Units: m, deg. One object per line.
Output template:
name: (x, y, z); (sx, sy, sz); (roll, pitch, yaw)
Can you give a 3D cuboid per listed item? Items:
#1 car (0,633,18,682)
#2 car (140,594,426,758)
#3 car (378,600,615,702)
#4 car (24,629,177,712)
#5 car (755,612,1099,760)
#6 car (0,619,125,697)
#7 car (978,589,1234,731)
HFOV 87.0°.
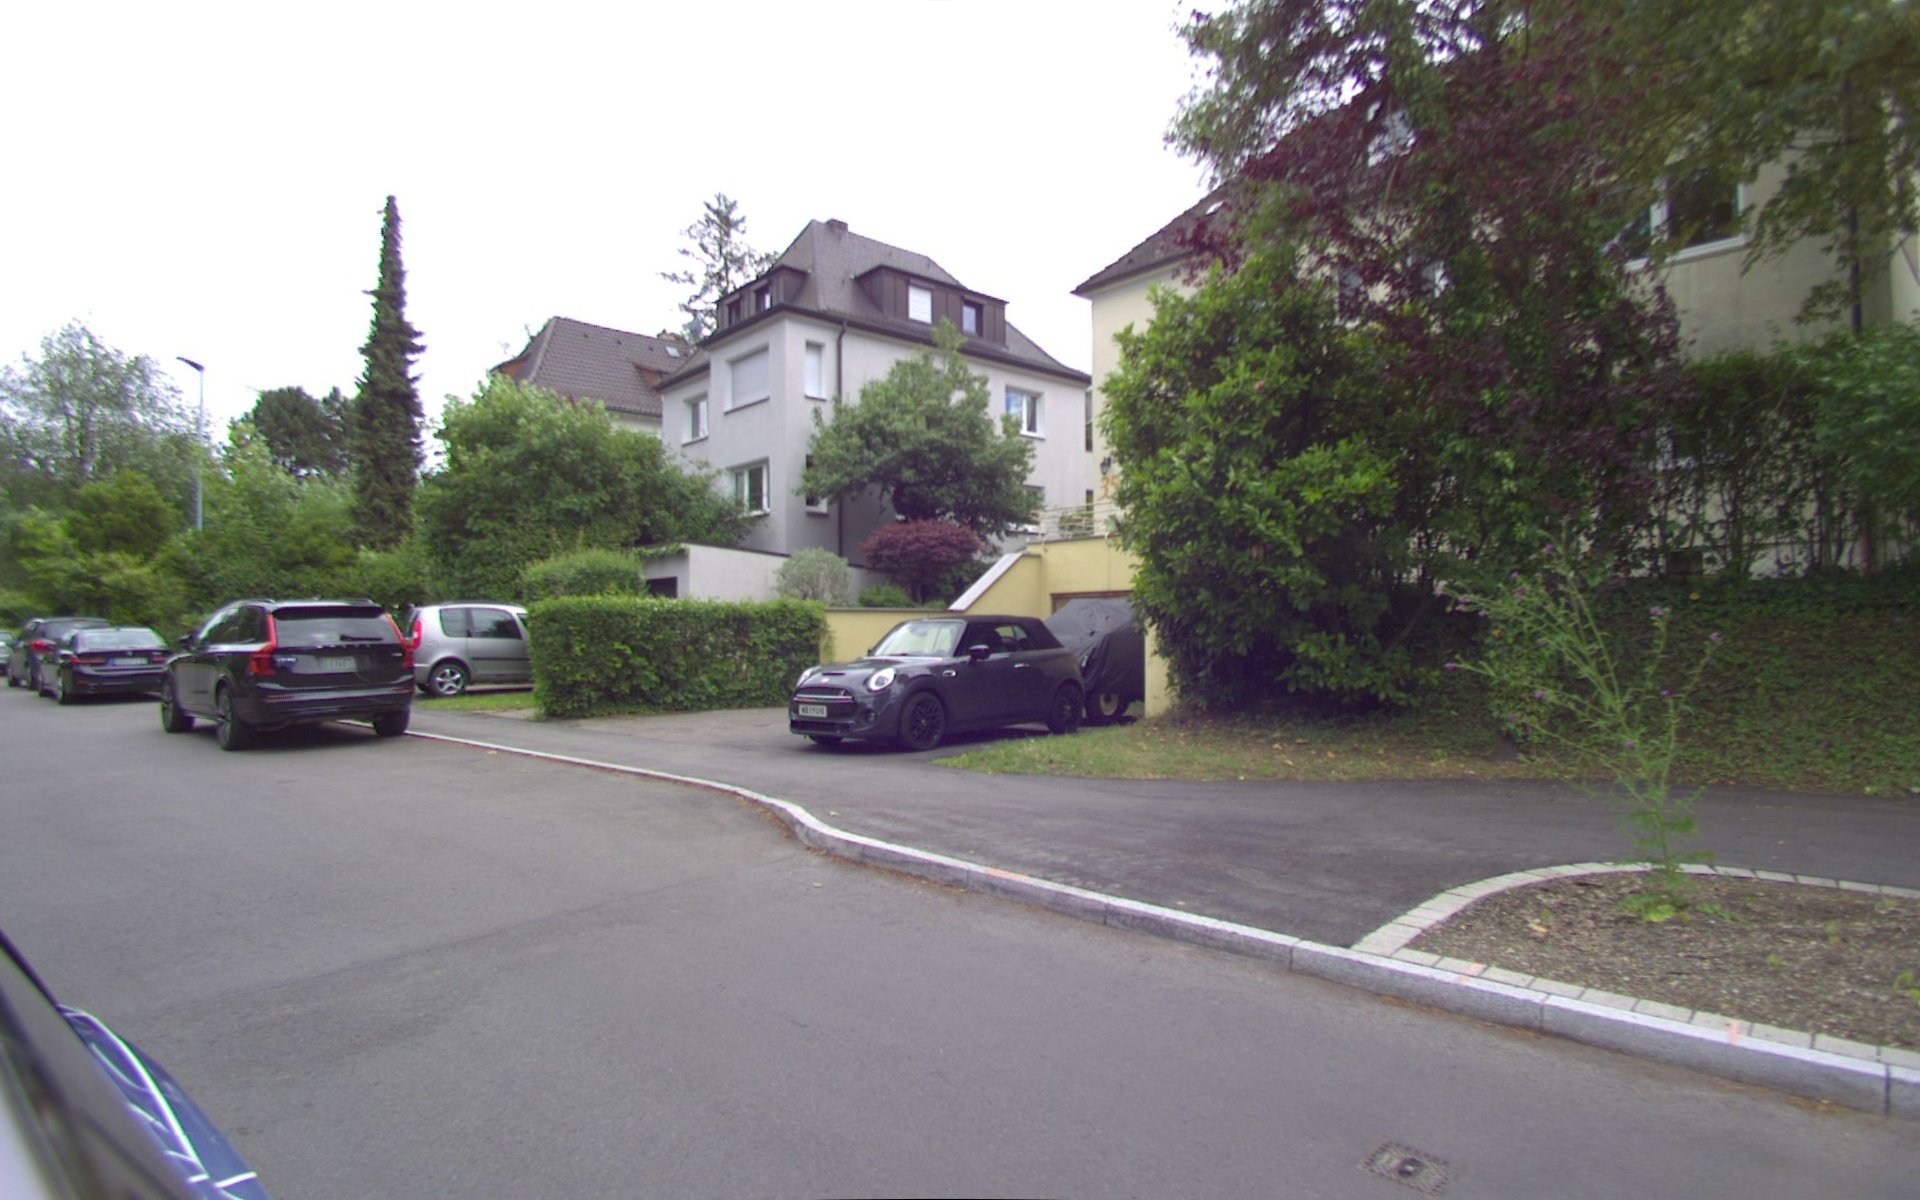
car: (-30.782, 1.755, 31.481); (4.089, 1.461, 1.607); (-1, -3, 39)
car: (-9.042, 0.863, 13.300); (5.188, 1.750, 1.953); (-2, -1, 42)
car: (-8.449, 0.853, 18.540); (3.644, 1.650, 1.832); (-1, -1, -37)
car: (-17.235, 1.309, 20.195); (4.897, 1.423, 1.735); (-2, -1, 42)
car: (-0.251, 0.867, 11.566); (1.778, 1.396, 3.781); (-3, -3, 43)
car: (-21.301, 1.302, 23.826); (4.564, 1.645, 1.714); (-2, -1, 39)
car: (2.225, 0.903, 14.894); (3.506, 1.807, 2.011); (5, -5, -44)
